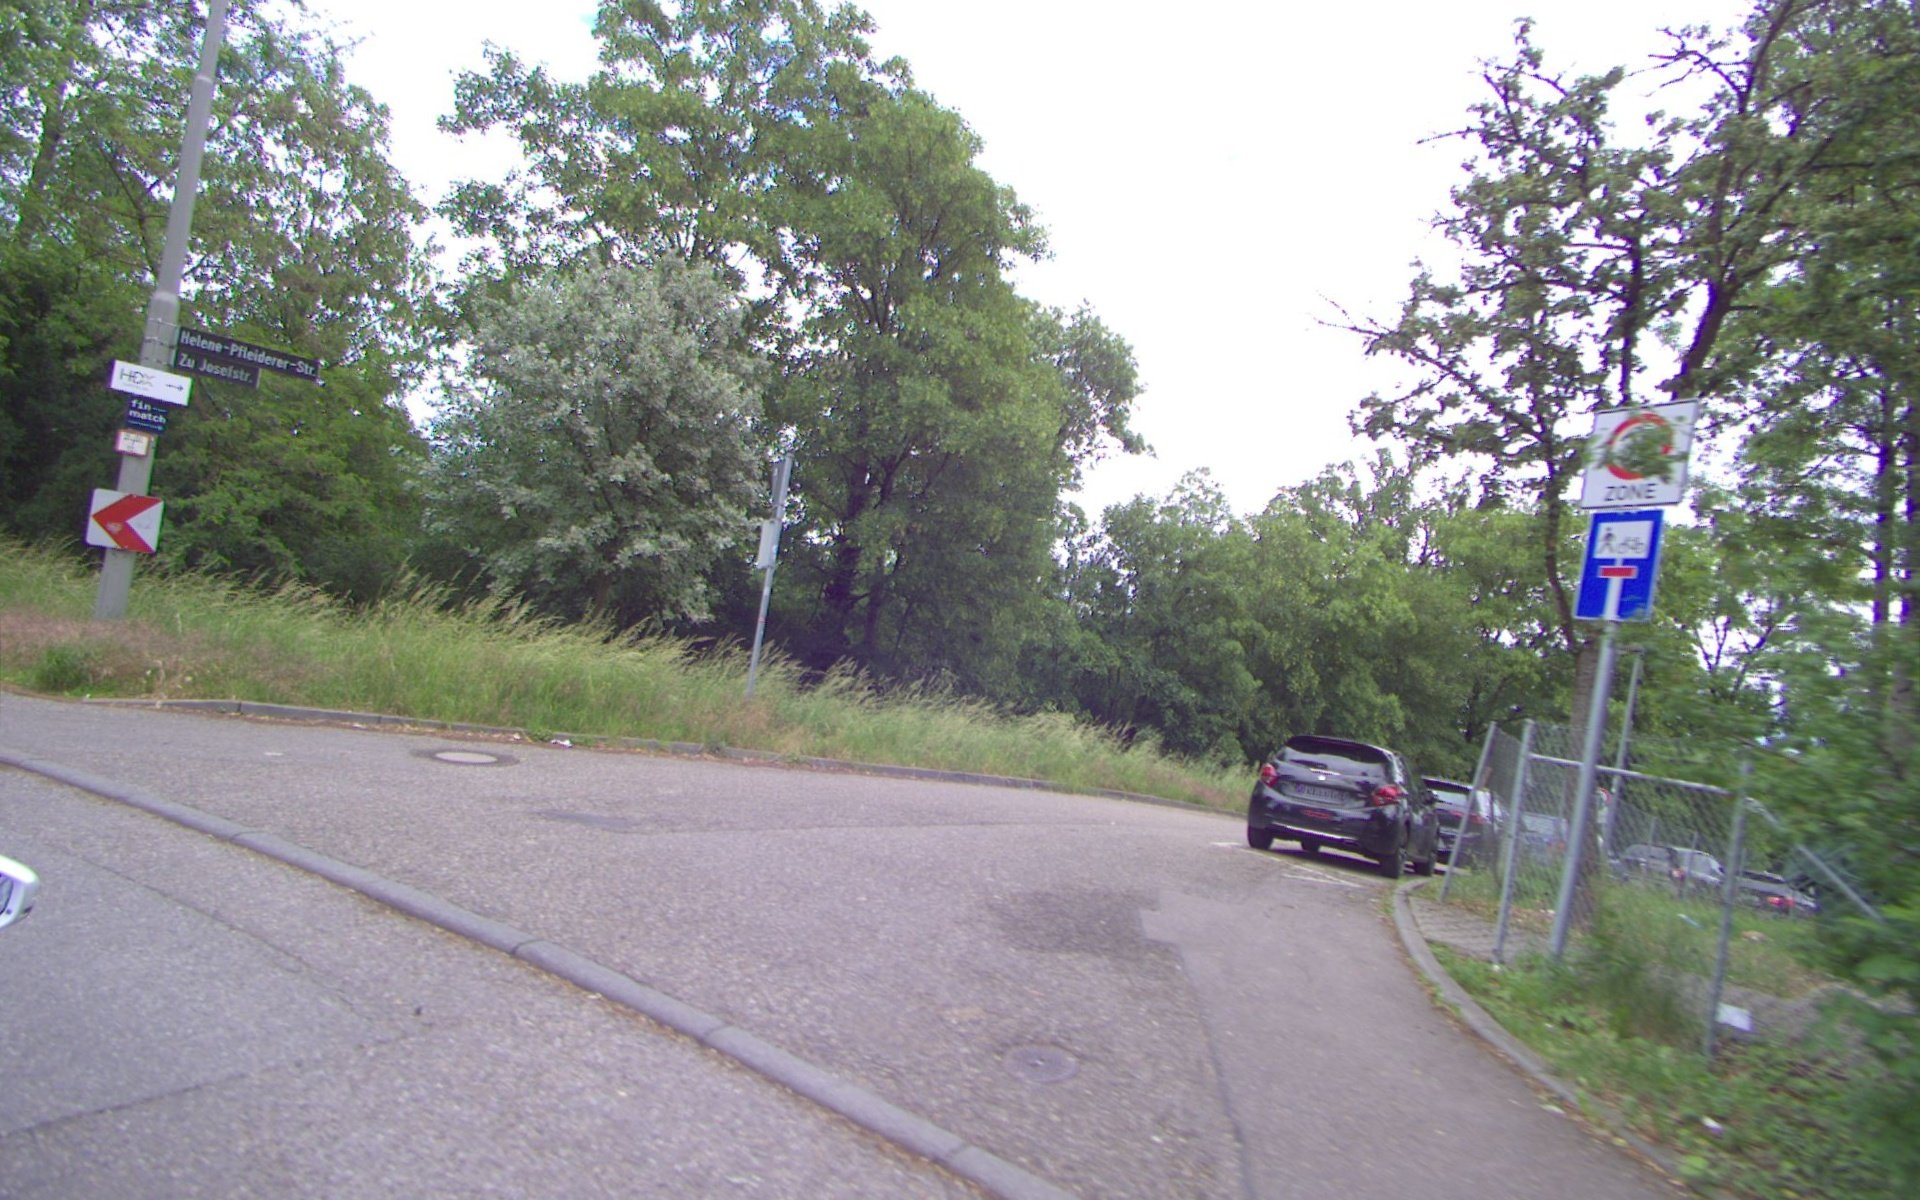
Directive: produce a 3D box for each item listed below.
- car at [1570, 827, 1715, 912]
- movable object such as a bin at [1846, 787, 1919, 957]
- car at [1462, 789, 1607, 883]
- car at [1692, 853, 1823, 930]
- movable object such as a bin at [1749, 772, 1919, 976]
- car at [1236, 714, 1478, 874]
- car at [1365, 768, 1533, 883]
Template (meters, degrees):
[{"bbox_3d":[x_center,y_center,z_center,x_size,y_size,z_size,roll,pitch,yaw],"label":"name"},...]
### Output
[{"bbox_3d":[15.472,6.101,22.761,3.578,1.339,1.537,16,-9,-35],"label":"car"},{"bbox_3d":[10.615,2.946,10.874,1.427,1.564,2.886,6,-3,42],"label":"movable object such as a bin"},{"bbox_3d":[11.492,4.728,20.017,1.532,1.339,3.590,3,-10,46],"label":"car"},{"bbox_3d":[19.983,7.308,25.165,3.576,1.339,1.538,15,-8,-33],"label":"car"},{"bbox_3d":[8.674,2.573,9.542,1.653,1.565,1.421,6,-3,43],"label":"movable object such as a bin"},{"bbox_3d":[5.014,2.453,12.404,1.804,1.410,3.673,5,-9,37],"label":"car"},{"bbox_3d":[7.761,3.590,15.802,1.528,1.339,3.599,5,-9,39],"label":"car"}]
